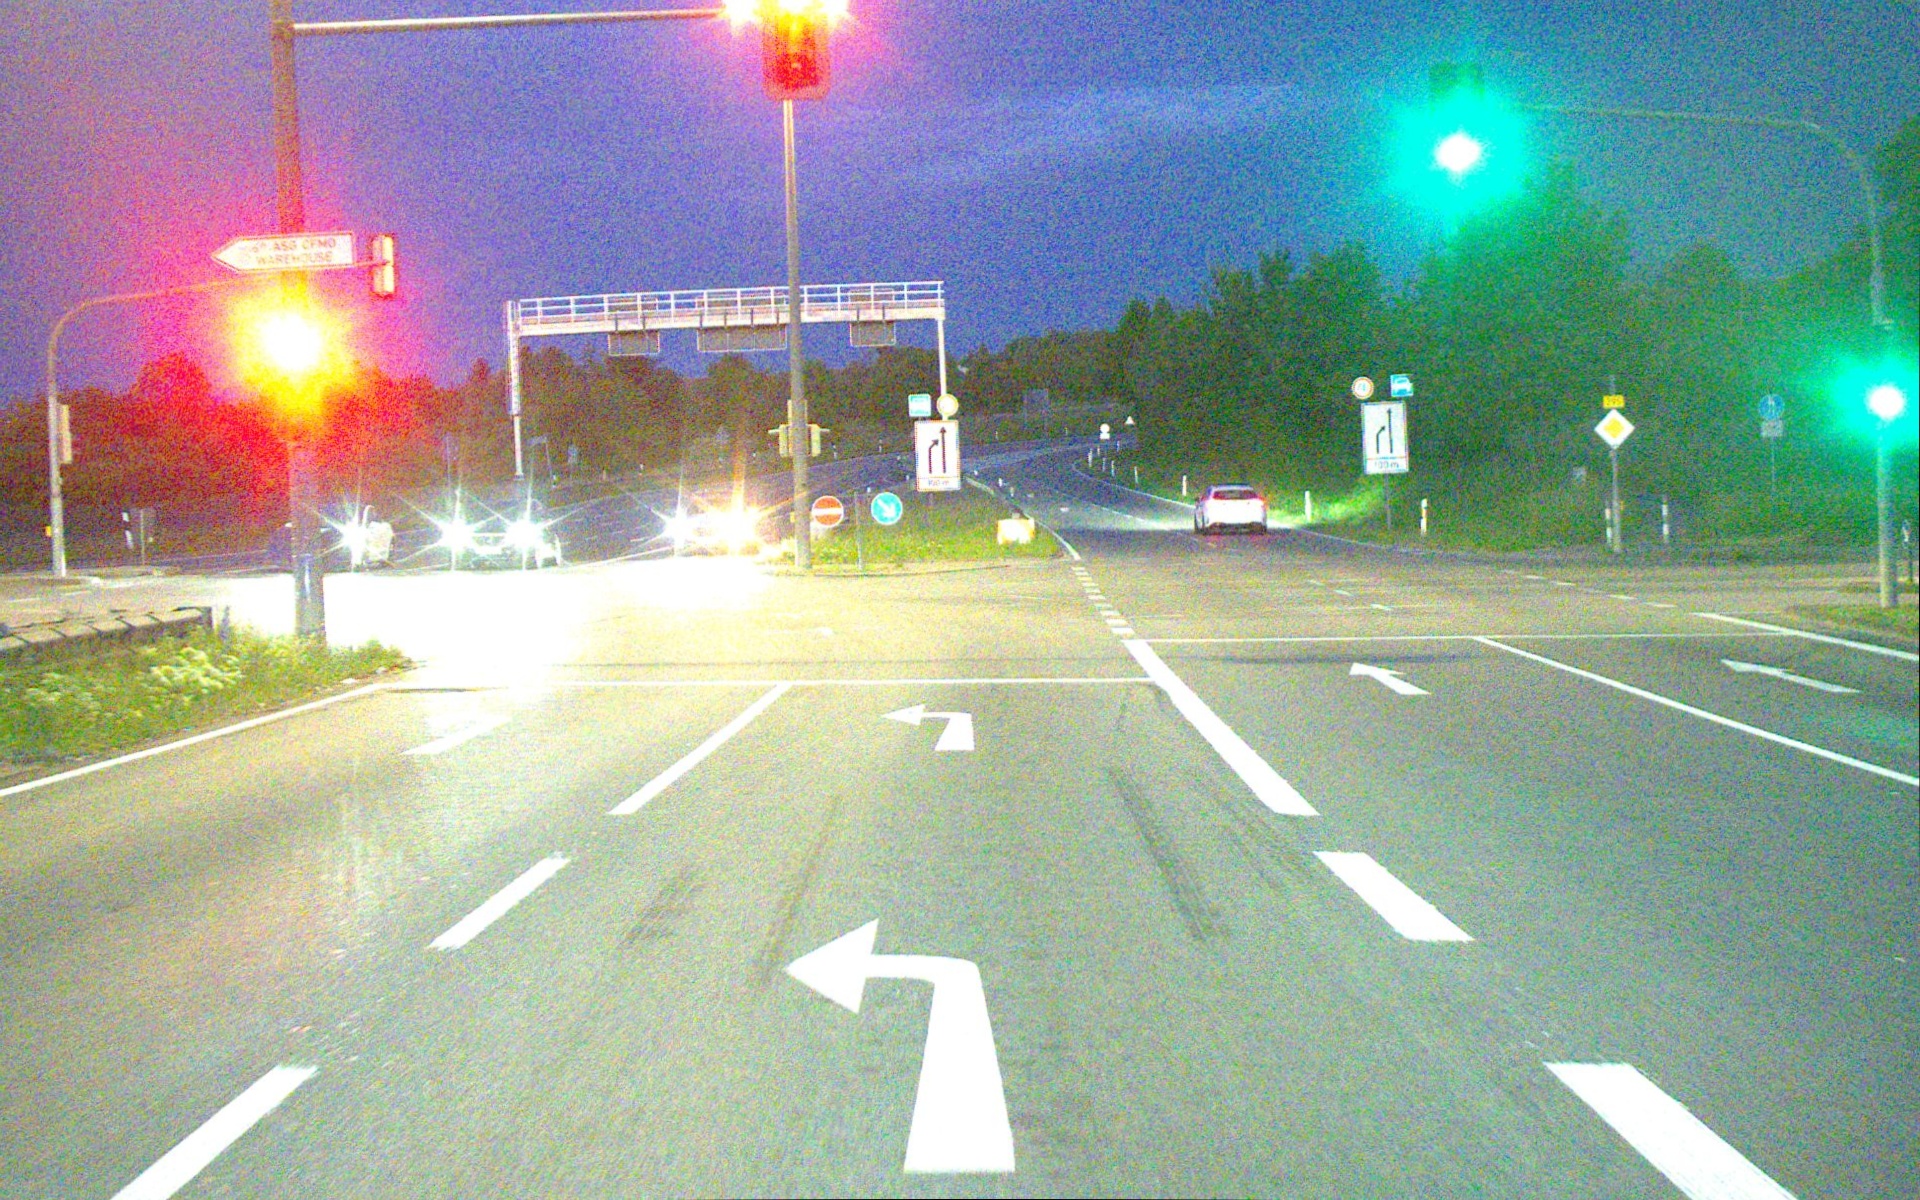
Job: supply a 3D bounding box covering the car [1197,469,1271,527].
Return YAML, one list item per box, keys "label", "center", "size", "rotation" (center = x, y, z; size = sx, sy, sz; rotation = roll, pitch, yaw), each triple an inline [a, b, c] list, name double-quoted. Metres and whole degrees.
- label: "car"
  center: [7.747, -2.908, 97.421]
  size: [2.008, 1.605, 3.845]
  rotation: [0, 2, 3]

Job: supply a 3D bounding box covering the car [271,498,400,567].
- label: "car"
  center: [-13.587, -1.504, 75.042]
  size: [1.993, 1.420, 4.533]
  rotation: [-1, 2, 0]

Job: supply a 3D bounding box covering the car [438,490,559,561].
- label: "car"
  center: [-10.026, -1.648, 74.990]
  size: [1.993, 1.476, 4.682]
  rotation: [-1, 2, 0]

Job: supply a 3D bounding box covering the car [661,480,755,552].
- label: "car"
  center: [-6.155, -2.084, 84.367]
  size: [1.993, 1.692, 4.001]
  rotation: [-1, 2, 0]
